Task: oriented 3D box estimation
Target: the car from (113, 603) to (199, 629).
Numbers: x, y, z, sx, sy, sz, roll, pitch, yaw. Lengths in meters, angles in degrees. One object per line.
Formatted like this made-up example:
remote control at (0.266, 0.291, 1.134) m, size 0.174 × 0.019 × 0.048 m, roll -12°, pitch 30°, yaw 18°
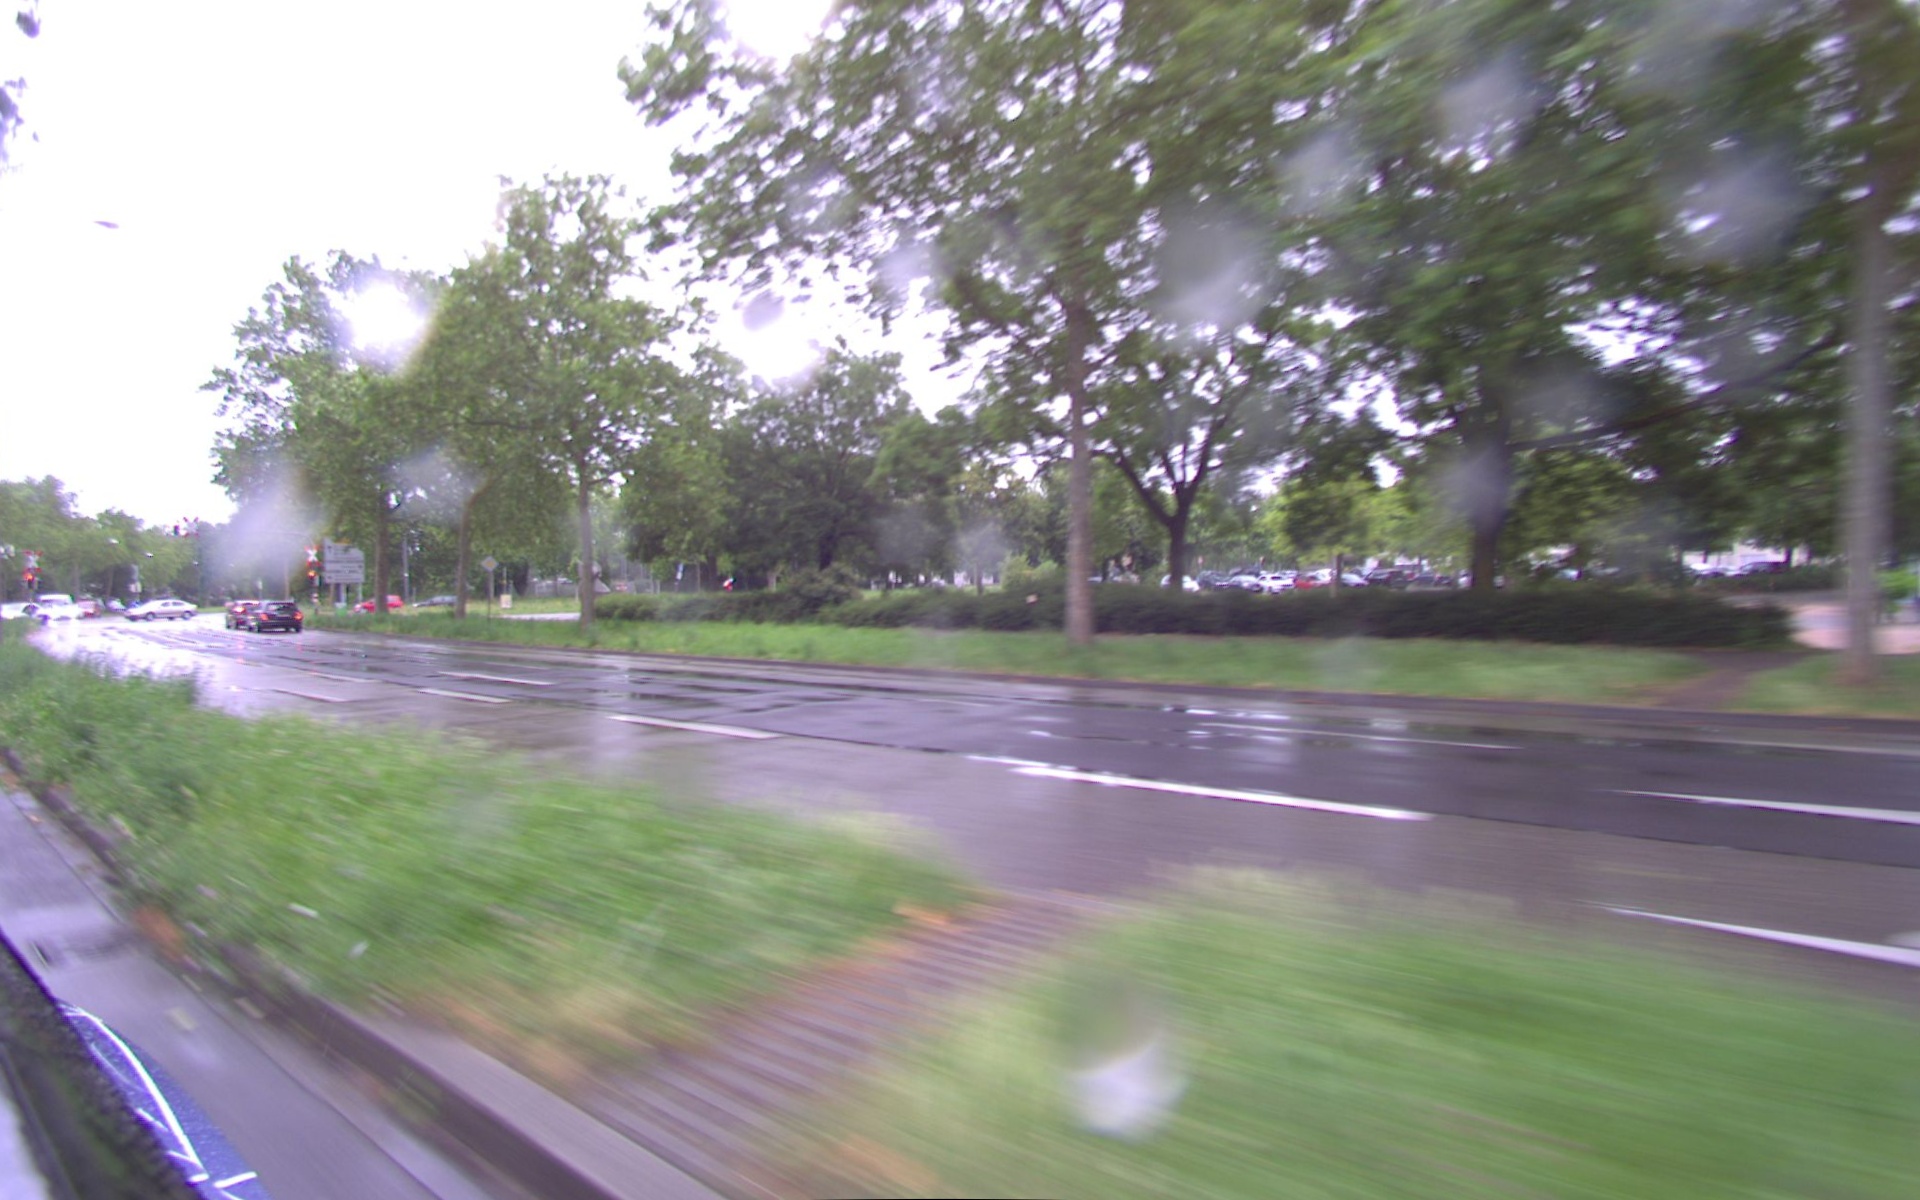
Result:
car at (-57.754, 1.135, 72.810) m, size 1.984 × 1.641 × 4.476 m, roll -1°, pitch 1°, yaw 19°

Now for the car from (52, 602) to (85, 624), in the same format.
car at (-83.141, 1.165, 94.401) m, size 4.524 × 1.901 × 1.971 m, roll 0°, pitch 1°, yaw 45°

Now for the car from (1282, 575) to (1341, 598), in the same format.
car at (25.632, -0.984, 74.020) m, size 1.967 × 1.548 × 4.511 m, roll -1°, pitch 1°, yaw -13°

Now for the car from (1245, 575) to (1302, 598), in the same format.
car at (22.887, -0.995, 74.103) m, size 1.967 × 1.548 × 4.511 m, roll -1°, pitch 1°, yaw -13°

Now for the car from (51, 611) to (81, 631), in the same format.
car at (-79.129, 1.826, 89.621) m, size 1.969 × 1.641 × 4.528 m, roll -2°, pitch 1°, yaw -41°

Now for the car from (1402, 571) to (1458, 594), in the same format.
car at (40.340, -1.473, 87.025) m, size 1.967 × 1.916 × 4.511 m, roll -1°, pitch 1°, yaw -13°

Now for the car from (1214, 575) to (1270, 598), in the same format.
car at (20.595, -0.998, 74.090) m, size 1.967 × 1.548 × 4.511 m, roll -1°, pitch 1°, yaw -13°

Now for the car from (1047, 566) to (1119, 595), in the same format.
car at (9.885, -1.537, 81.309) m, size 5.327 × 2.190 × 2.005 m, roll -1°, pitch 1°, yaw -11°

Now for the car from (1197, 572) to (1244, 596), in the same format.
car at (21.851, -1.363, 85.074) m, size 1.967 × 1.916 × 4.511 m, roll -1°, pitch 1°, yaw -13°

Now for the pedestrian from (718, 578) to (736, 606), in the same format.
pedestrian at (-17.516, -0.608, 76.022) m, size 0.885 × 2.029 × 1.021 m, roll -2°, pitch 1°, yaw -39°

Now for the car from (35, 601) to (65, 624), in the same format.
car at (-89.849, 1.170, 99.979) m, size 1.969 × 2.123 × 5.151 m, roll -2°, pitch 1°, yaw -40°

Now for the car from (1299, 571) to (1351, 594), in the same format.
car at (31.264, -1.489, 86.845) m, size 1.967 × 1.916 × 4.511 m, roll -1°, pitch 1°, yaw -13°

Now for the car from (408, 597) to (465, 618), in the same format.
car at (-45.979, 0.625, 88.988) m, size 4.444 × 1.641 × 2.007 m, roll -2°, pitch 1°, yaw -26°

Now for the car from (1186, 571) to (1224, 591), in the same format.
car at (24.919, -1.900, 103.030) m, size 1.967 × 1.916 × 4.511 m, roll -1°, pitch 1°, yaw -13°

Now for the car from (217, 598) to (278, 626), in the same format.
car at (-37.326, 0.593, 52.973) m, size 1.970 × 1.384 × 4.335 m, roll -2°, pitch 1°, yaw -44°

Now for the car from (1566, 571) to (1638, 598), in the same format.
car at (48.439, -1.179, 76.453) m, size 2.079 × 1.916 × 4.508 m, roll -1°, pitch 1°, yaw -10°

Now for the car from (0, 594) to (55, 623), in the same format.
car at (-56.764, 0.516, 60.552) m, size 1.966 × 1.641 × 4.534 m, roll -1°, pitch 1°, yaw -14°

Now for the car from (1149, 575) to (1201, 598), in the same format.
car at (15.601, -0.999, 73.601) m, size 1.967 × 1.548 × 4.511 m, roll -1°, pitch 1°, yaw -13°

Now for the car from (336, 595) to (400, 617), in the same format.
car at (-49.144, 0.474, 84.144) m, size 4.444 × 1.641 × 2.007 m, roll -2°, pitch 1°, yaw -26°

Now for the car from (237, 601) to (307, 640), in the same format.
car at (-32.099, 0.918, 47.178) m, size 1.970 × 1.643 × 4.335 m, roll -2°, pitch 1°, yaw -44°

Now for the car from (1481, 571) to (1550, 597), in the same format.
car at (41.653, -1.198, 75.995) m, size 1.967 × 1.916 × 4.511 m, roll -1°, pitch 1°, yaw -13°

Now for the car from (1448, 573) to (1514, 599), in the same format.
car at (39.062, -1.055, 75.990) m, size 1.967 × 1.916 × 4.511 m, roll -1°, pitch 1°, yaw -13°

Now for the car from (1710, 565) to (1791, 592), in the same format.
car at (58.958, -1.585, 75.622) m, size 1.967 × 1.916 × 4.511 m, roll -1°, pitch 1°, yaw -13°
